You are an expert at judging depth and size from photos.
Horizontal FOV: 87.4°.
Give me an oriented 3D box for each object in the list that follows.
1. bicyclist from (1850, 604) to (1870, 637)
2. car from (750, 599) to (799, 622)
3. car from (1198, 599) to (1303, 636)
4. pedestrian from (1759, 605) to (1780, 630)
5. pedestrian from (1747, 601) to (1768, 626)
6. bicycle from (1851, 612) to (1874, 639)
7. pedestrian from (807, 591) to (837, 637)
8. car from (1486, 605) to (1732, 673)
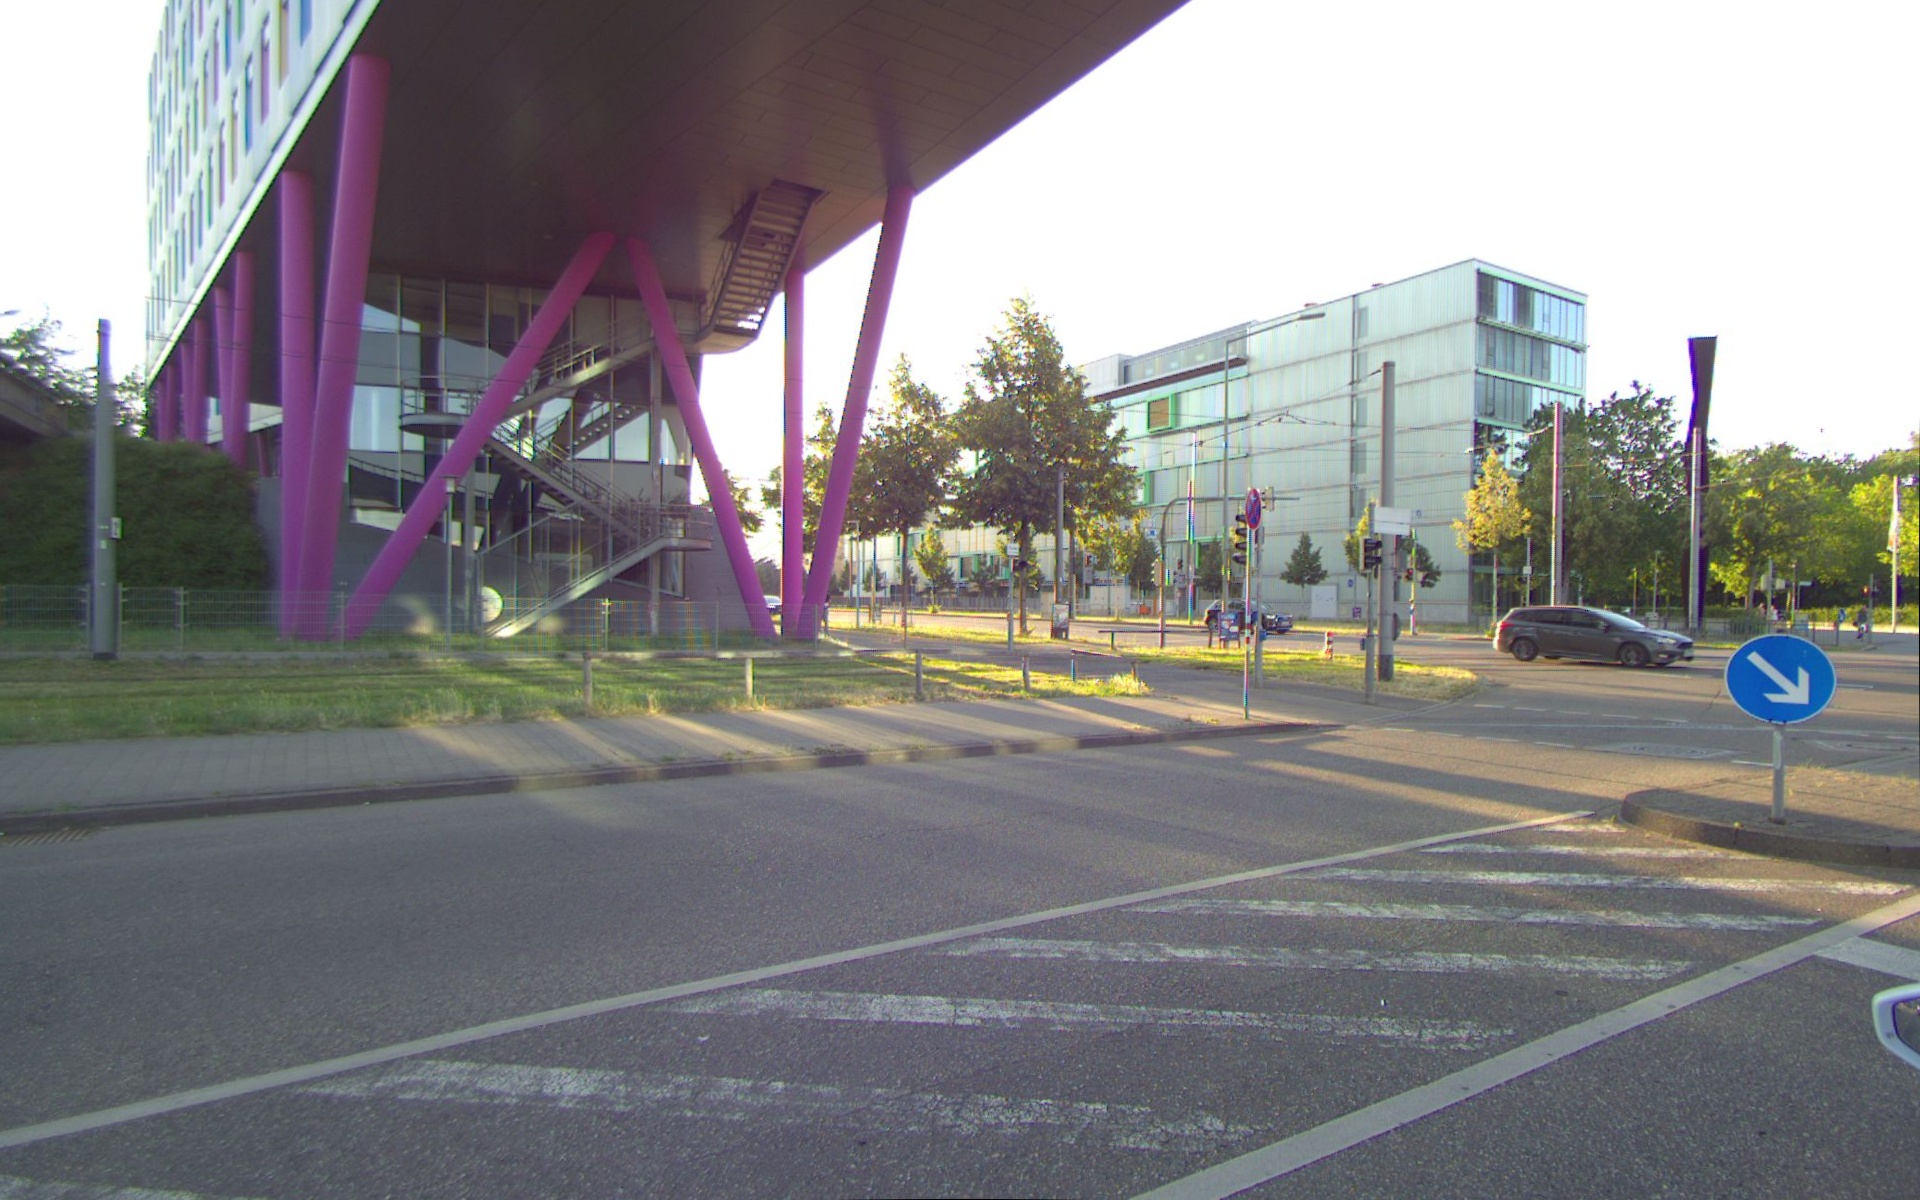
[{"bbox_3d":[47.528,1.082,53.062,0.742,1.732,0.916,1,0,40],"label":"bicyclist"},{"bbox_3d":[-14.057,0.789,75.731,1.978,1.636,4.880,1,0,-32],"label":"car"},{"bbox_3d":[13.299,0.793,46.205,1.968,1.577,4.448,1,0,-34],"label":"car"},{"bbox_3d":[58.331,1.255,72.356,0.813,1.767,0.863,1,0,4],"label":"pedestrian"},{"bbox_3d":[57.393,0.938,72.298,0.814,1.767,0.863,1,0,0],"label":"pedestrian"},{"bbox_3d":[47.575,1.330,52.982,0.721,1.359,2.679,1,0,38],"label":"bicycle"},{"bbox_3d":[-5.259,0.542,38.219,0.921,1.747,0.877,1,-2,-26],"label":"pedestrian"},{"bbox_3d":[16.605,0.924,25.965,1.969,1.531,4.972,1,0,-37],"label":"car"}]
